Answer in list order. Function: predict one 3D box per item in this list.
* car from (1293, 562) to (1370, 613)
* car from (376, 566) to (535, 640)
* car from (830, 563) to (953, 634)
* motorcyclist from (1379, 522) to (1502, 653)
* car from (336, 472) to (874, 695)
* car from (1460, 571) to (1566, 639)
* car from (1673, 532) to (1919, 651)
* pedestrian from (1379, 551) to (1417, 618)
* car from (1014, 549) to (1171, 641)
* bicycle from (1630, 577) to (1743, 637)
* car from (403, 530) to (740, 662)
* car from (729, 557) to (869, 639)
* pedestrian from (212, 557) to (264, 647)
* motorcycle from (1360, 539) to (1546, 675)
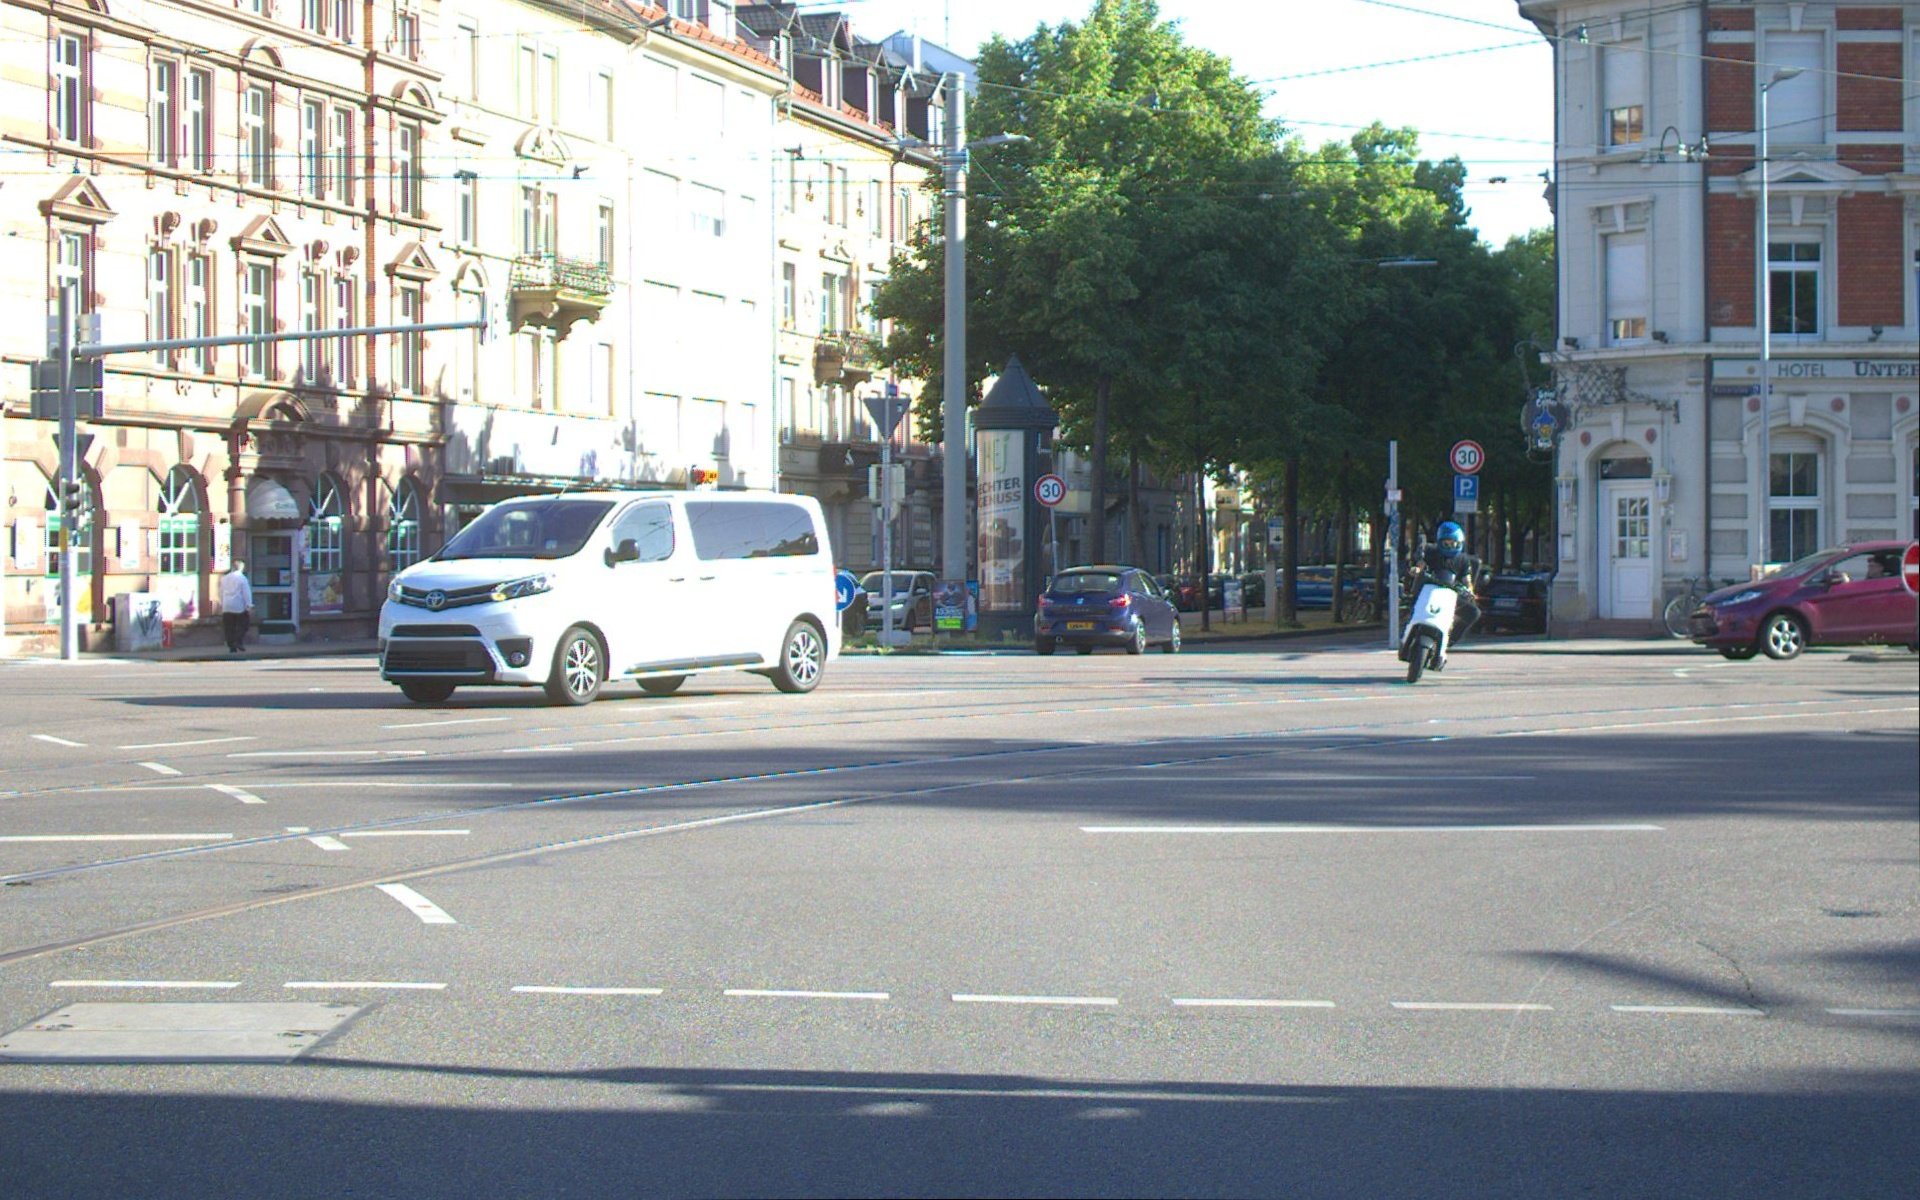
[{"bbox_3d":[12.627,-0.422,116.609,1.995,1.678,3.997,1,1,15],"label":"car"},{"bbox_3d":[-9.791,0.045,67.015,1.661,1.369,3.889,1,1,15],"label":"car"},{"bbox_3d":[-1.557,-0.049,79.757,1.804,1.570,3.888,1,1,15],"label":"car"},{"bbox_3d":[4.874,-0.130,34.866,0.788,1.296,1.015,1,1,42],"label":"motorcyclist"},{"bbox_3d":[-3.095,-0.147,31.191,1.997,1.848,5.206,0,0,34],"label":"car"},{"bbox_3d":[13.302,0.105,82.509,1.758,1.550,3.996,1,1,20],"label":"car"},{"bbox_3d":[10.911,-0.111,42.320,3.868,1.421,1.596,0,1,-5],"label":"car"},{"bbox_3d":[13.266,-0.467,104.036,0.943,2.007,0.826,1,0,-6],"label":"pedestrian"},{"bbox_3d":[2.151,-0.115,54.844,1.826,1.398,3.998,0,1,12],"label":"car"},{"bbox_3d":[12.071,0.105,57.118,1.804,0.959,0.603,1,0,14],"label":"bicycle"},{"bbox_3d":[-4.645,-0.082,41.631,1.896,1.449,4.001,0,2,34],"label":"car"},{"bbox_3d":[-3.409,-0.058,73.437,1.826,1.679,3.872,1,1,16],"label":"car"},{"bbox_3d":[-13.282,0.043,63.224,0.568,1.636,0.792,1,0,23],"label":"pedestrian"},{"bbox_3d":[5.003,0.067,34.794,0.796,1.329,2.137,1,1,42],"label":"motorcycle"}]
